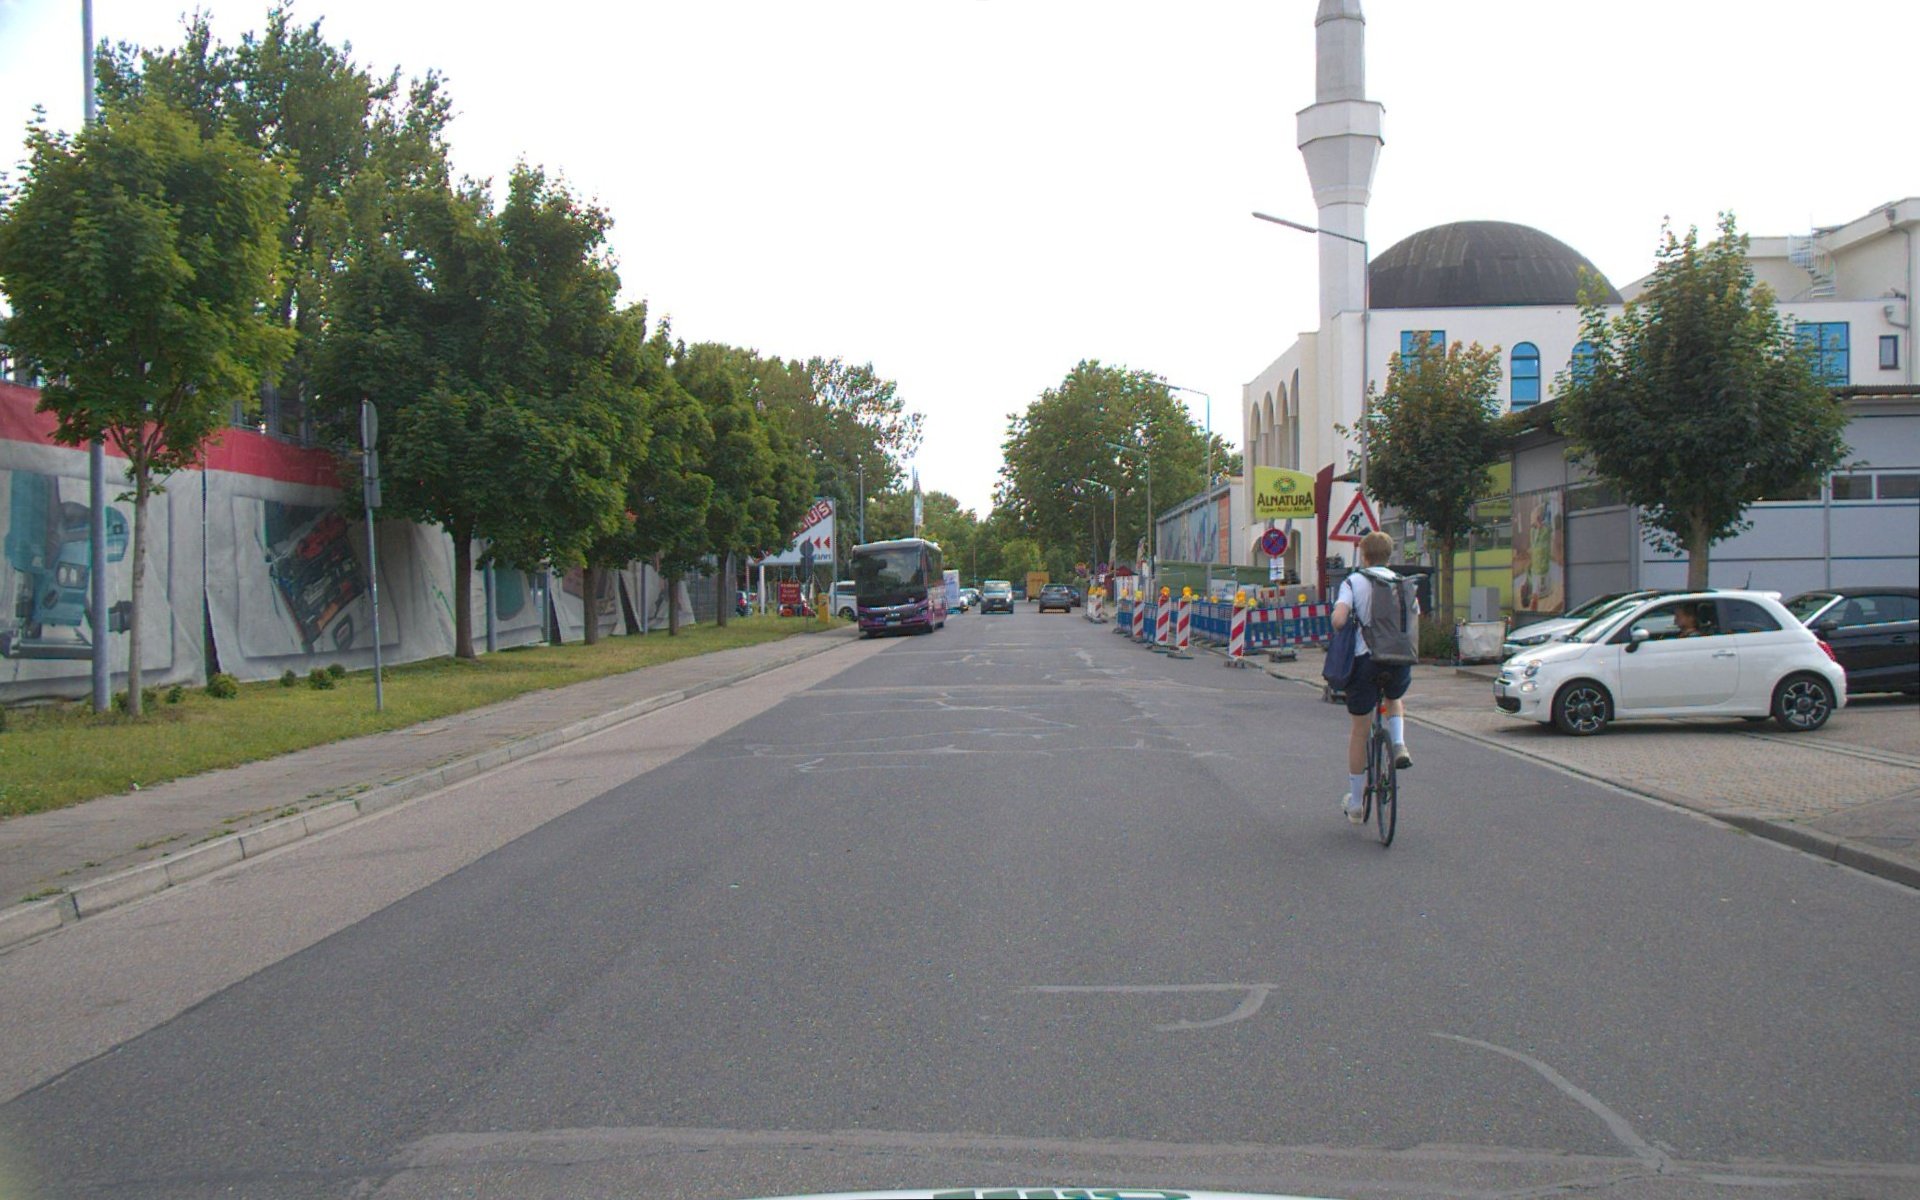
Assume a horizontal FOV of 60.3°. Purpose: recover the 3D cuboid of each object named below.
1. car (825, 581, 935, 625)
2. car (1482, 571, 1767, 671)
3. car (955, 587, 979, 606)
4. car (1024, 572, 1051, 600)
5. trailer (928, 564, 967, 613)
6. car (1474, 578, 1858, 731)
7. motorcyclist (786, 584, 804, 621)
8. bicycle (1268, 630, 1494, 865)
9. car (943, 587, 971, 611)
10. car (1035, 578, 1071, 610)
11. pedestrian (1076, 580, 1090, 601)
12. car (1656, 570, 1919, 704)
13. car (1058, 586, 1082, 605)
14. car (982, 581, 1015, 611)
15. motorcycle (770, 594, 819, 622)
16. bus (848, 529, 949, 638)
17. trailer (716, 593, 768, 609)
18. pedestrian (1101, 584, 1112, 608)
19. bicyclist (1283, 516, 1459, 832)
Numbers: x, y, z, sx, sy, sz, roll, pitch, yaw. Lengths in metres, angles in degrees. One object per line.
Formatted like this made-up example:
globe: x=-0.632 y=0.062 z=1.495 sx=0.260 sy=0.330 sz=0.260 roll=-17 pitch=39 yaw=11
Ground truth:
car: x=-3.790 y=0.131 z=78.776 sx=4.894 sy=1.983 sz=1.994 roll=-1 pitch=0 yaw=8
car: x=11.250 y=0.331 z=28.199 sx=4.020 sy=1.489 sz=1.990 roll=-2 pitch=0 yaw=-1
car: x=0.633 y=-0.295 z=137.954 sx=1.674 sy=1.444 sz=4.333 roll=-4 pitch=0 yaw=4
car: x=7.466 y=-1.374 z=159.563 sx=2.154 sy=2.623 sz=6.403 roll=-1 pitch=1 yaw=-1
trailer: x=-0.730 y=-0.724 z=102.375 sx=2.095 sy=2.831 sz=4.704 roll=-3 pitch=0 yaw=2
car: x=7.683 y=0.571 z=18.280 sx=3.524 sy=1.495 sz=1.690 roll=-2 pitch=0 yaw=6
motorcyclist: x=-7.915 y=0.118 z=79.313 sx=0.660 sy=1.753 sz=0.995 roll=-1 pitch=0 yaw=3
bicycle: x=2.514 y=0.818 z=10.225 sx=0.781 sy=1.201 sz=2.627 roll=1 pitch=0 yaw=1
car: x=-0.197 y=-0.110 z=113.107 sx=1.729 sy=1.505 sz=4.236 roll=-3 pitch=0 yaw=1
car: x=5.544 y=-0.375 z=98.658 sx=1.921 sy=1.847 sz=4.276 roll=-1 pitch=0 yaw=0
pedestrian: x=11.458 y=-0.887 z=153.911 sx=0.984 sy=1.881 sz=1.224 roll=-1 pitch=0 yaw=-15
car: x=11.033 y=0.401 z=20.404 sx=4.095 sy=1.455 sz=1.806 roll=-2 pitch=0 yaw=-1
car: x=8.476 y=-0.383 z=127.746 sx=1.770 sy=1.415 sz=4.590 roll=2 pitch=1 yaw=3
car: x=2.253 y=-0.223 z=95.824 sx=1.830 sy=1.658 sz=4.128 roll=-1 pitch=1 yaw=1
motorcycle: x=-7.916 y=0.378 z=79.305 sx=2.175 sy=1.235 sz=0.995 roll=-2 pitch=0 yaw=3
bus: x=-2.130 y=-0.599 z=62.514 sx=2.608 sy=3.481 sz=13.222 roll=-4 pitch=0 yaw=2
trailer: x=-17.210 y=0.075 z=130.862 sx=3.735 sy=1.211 sz=1.716 roll=-1 pitch=1 yaw=8
pedestrian: x=9.859 y=-0.272 z=111.482 sx=0.667 sy=1.560 sz=1.130 roll=-1 pitch=0 yaw=2
bicyclist: x=2.513 y=0.430 z=10.245 sx=0.790 sy=1.824 sz=1.207 roll=1 pitch=0 yaw=1
